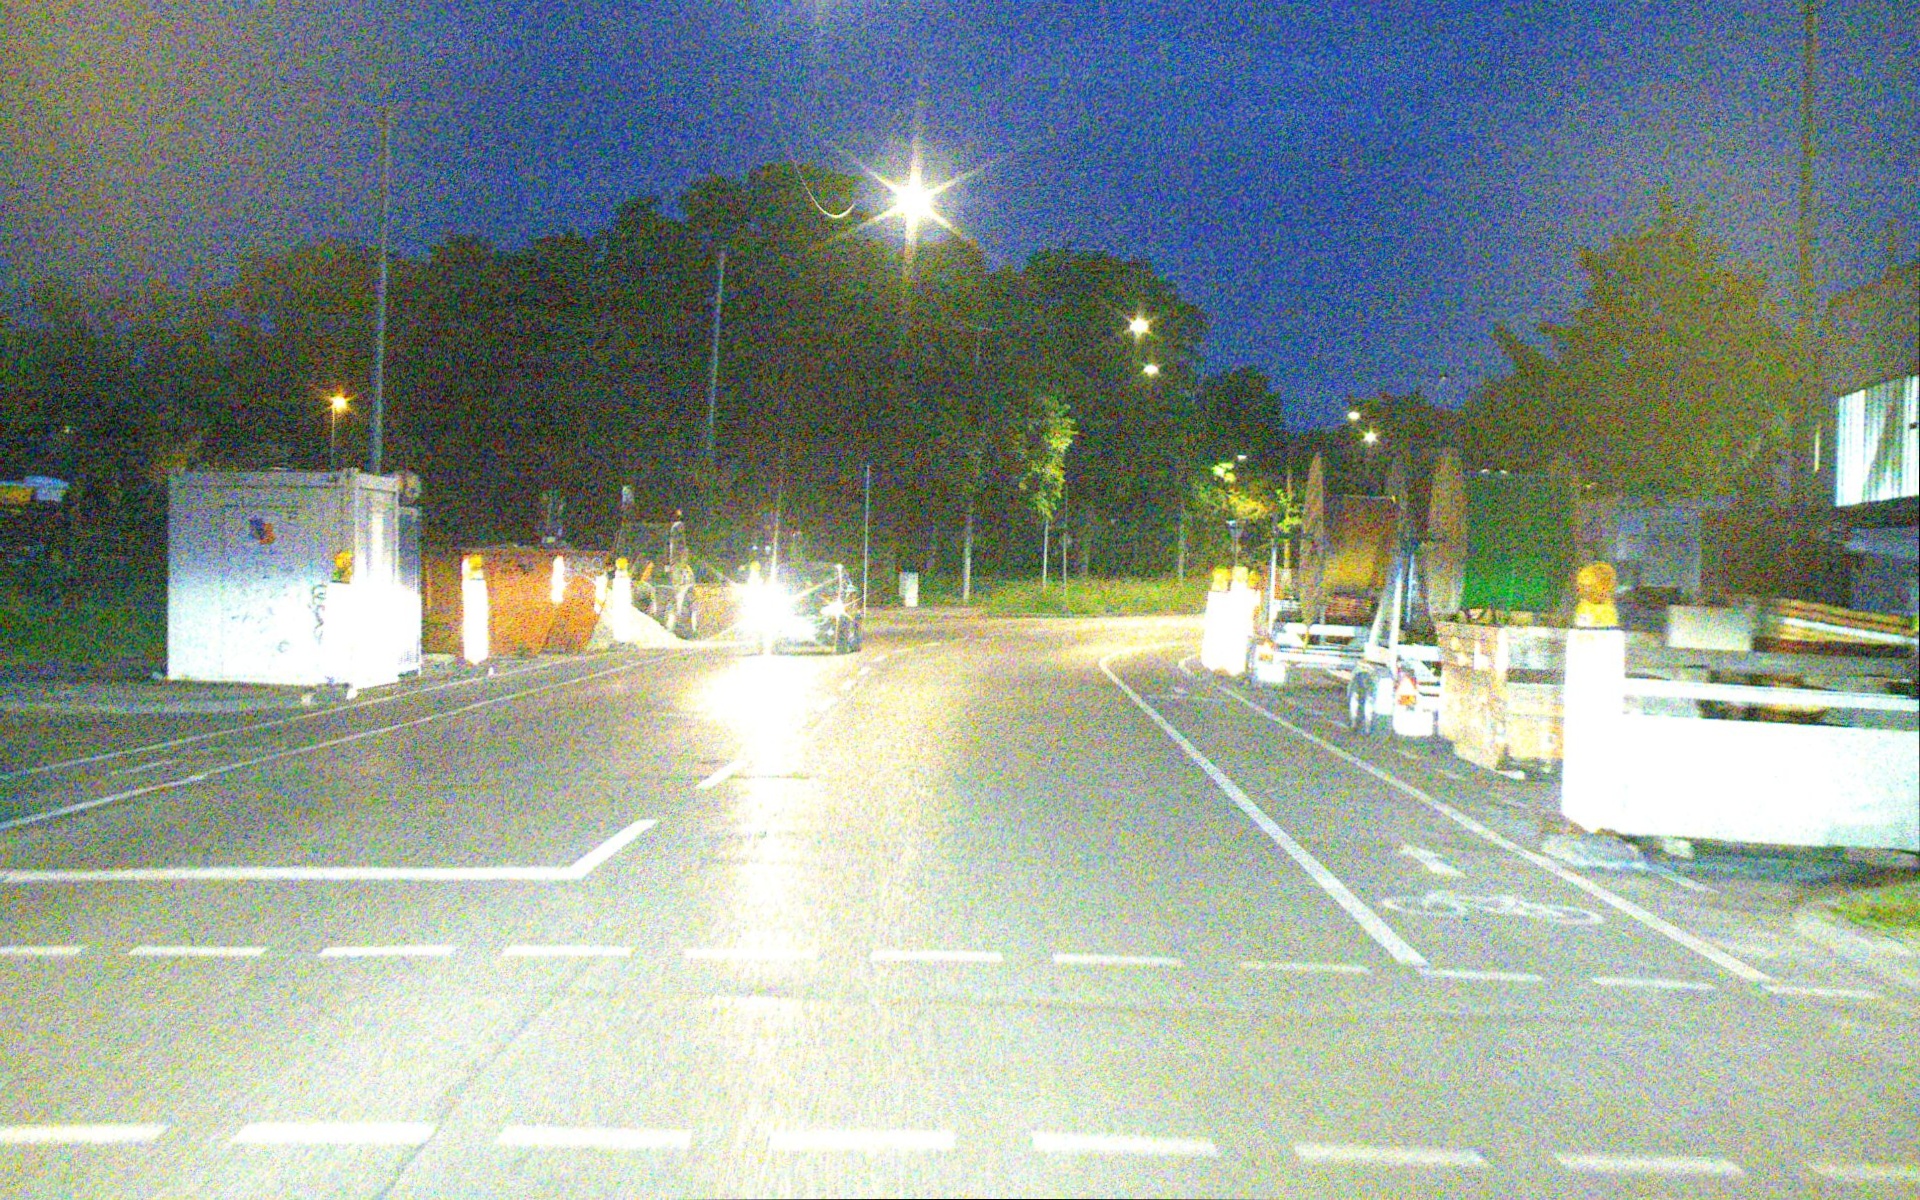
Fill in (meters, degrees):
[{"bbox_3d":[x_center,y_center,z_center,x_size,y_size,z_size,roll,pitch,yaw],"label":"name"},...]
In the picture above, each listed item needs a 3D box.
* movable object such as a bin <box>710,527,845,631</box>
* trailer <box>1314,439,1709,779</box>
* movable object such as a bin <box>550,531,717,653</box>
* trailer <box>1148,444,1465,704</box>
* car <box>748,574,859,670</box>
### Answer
[{"bbox_3d":[-4.347,-0.490,82.495,1.995,2.368,4.699,1,0,13],"label":"movable object such as a bin"},{"bbox_3d":[5.087,0.085,32.526,2.613,2.836,4.709,3,0,-3],"label":"trailer"},{"bbox_3d":[-6.616,-0.181,70.223,1.995,2.368,4.699,1,1,13],"label":"movable object such as a bin"},{"bbox_3d":[4.681,-0.335,47.452,3.481,3.208,4.865,3,0,-3],"label":"trailer"},{"bbox_3d":[-2.612,0.352,57.902,1.696,1.571,2.957,0,1,1],"label":"car"}]
